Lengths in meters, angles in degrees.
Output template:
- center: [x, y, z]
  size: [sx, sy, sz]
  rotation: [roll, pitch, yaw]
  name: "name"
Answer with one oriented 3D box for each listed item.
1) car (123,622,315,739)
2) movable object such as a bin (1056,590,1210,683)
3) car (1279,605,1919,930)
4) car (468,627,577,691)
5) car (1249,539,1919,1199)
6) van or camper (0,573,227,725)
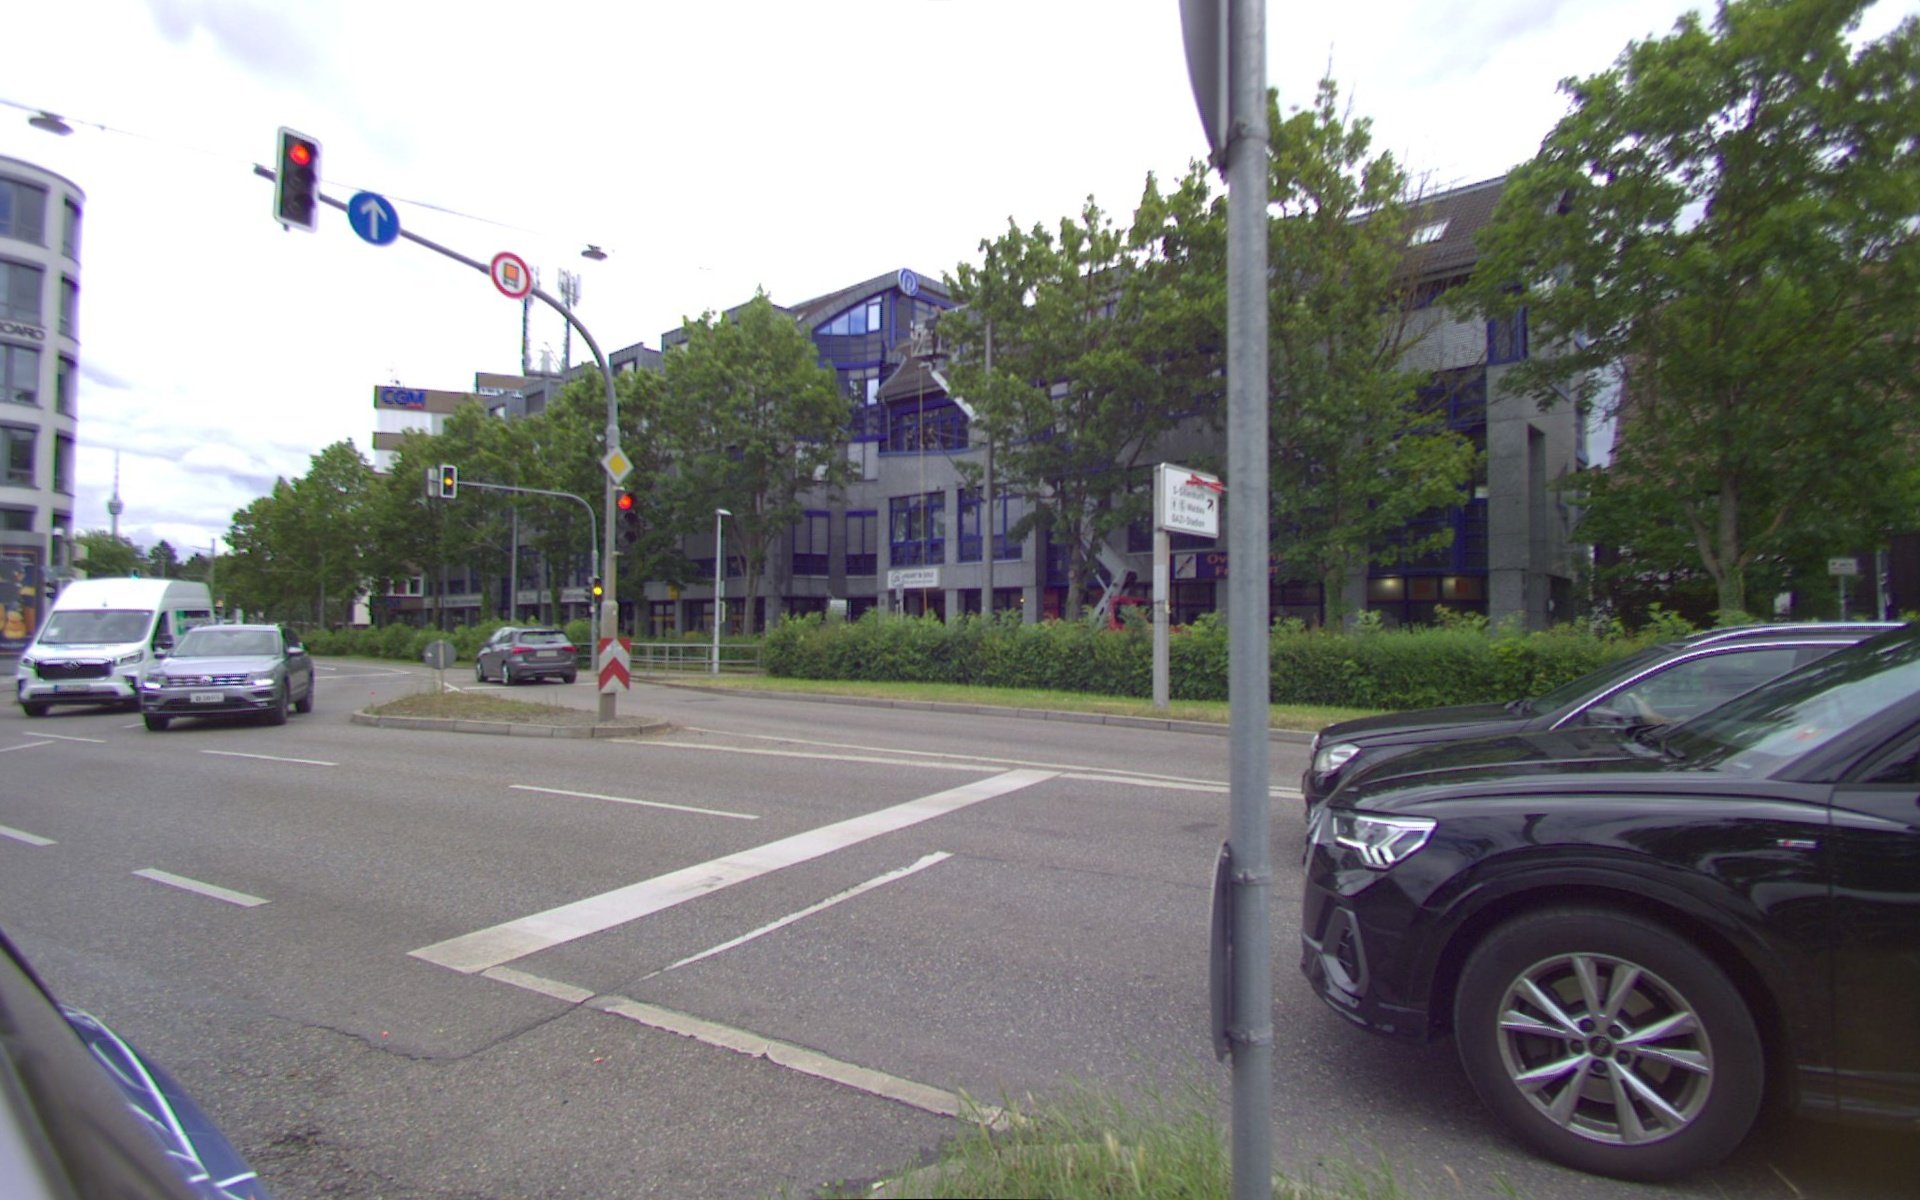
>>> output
- center: [-12.207, 1.219, 16.975]
  size: [1.803, 1.658, 4.340]
  rotation: [-1, -1, -25]
  name: "car"
- center: [5.058, 1.060, 29.920]
  size: [4.126, 2.551, 1.884]
  rotation: [-2, -2, 42]
  name: "movable object such as a bin"
- center: [4.222, 0.772, 5.574]
  size: [4.382, 1.436, 1.769]
  rotation: [-2, -2, 32]
  name: "car"
- center: [-11.926, 1.545, 27.432]
  size: [1.759, 1.549, 4.406]
  rotation: [0, -2, -36]
  name: "car"
- center: [3.232, 0.636, 2.716]
  size: [4.379, 1.576, 1.875]
  rotation: [-2, -2, 31]
  name: "car"
- center: [-17.494, 0.938, 21.326]
  size: [2.075, 2.710, 6.320]
  rotation: [-1, -1, -24]
  name: "van or camper"
